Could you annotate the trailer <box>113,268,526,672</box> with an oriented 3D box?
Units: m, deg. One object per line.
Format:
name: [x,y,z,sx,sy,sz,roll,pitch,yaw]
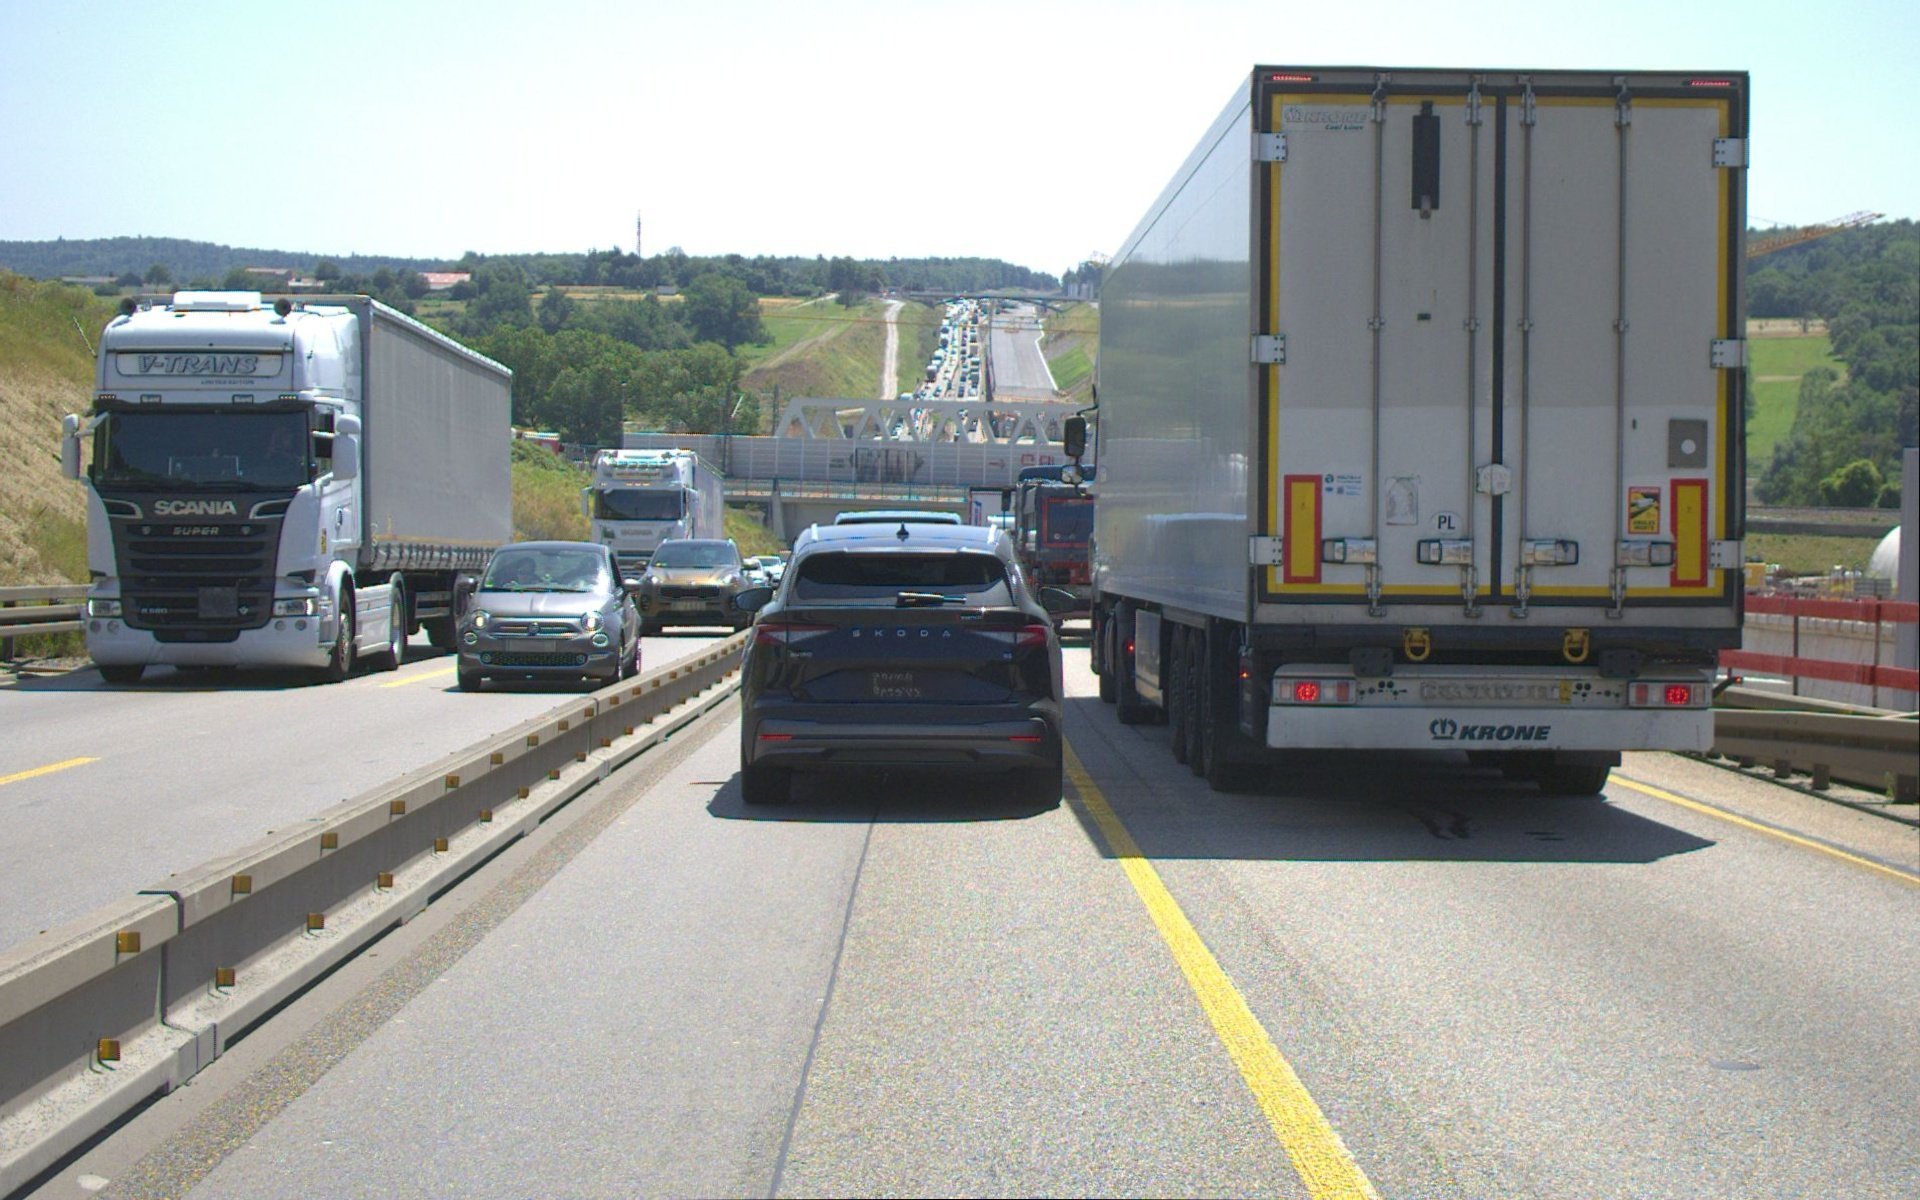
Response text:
trailer: [-7.747,-1.519,43.836,2.810,4.272,14.036,1,1,-1]

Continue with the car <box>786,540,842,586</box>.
car: [-5.293,-1.359,124.880,1.812,1.632,4.362,0,1,0]

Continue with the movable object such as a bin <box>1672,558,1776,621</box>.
movable object such as a bin: [36.744,-0.549,165.669,2.887,2.899,9.479,1,1,0]

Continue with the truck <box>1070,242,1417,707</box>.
truck: [2.561,-1.112,32.548,2.776,4.044,4.905,0,0,-1]

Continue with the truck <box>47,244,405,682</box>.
truck: [-7.617,-1.393,36.236,2.774,4.272,4.677,1,1,-1]

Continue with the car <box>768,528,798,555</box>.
car: [-9.572,-3.155,185.997,1.646,1.411,4.001,0,1,-3]

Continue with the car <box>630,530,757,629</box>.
car: [-4.429,-0.368,57.705,1.848,1.581,4.174,1,1,-1]

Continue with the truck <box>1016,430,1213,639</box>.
truck: [2.436,-1.047,58.309,2.814,3.124,12.838,0,1,0]

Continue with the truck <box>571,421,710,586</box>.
truck: [-8.271,-2.484,89.345,3.239,4.145,4.247,1,1,-1]

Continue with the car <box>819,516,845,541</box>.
car: [-9.301,-5.196,249.926,1.732,1.787,3.581,1,1,-1]

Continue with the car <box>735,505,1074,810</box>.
car: [-0.307,0.273,20.087,1.800,1.615,3.298,1,1,0]

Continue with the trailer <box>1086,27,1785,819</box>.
trailer: [2.703,-0.957,24.717,2.801,4.044,14.117,0,0,-1]

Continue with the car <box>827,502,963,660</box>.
car: [-0.737,-0.252,40.812,1.475,1.789,3.297,0,1,1]

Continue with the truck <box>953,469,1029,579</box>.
truck: [1.133,-2.855,129.384,2.517,3.946,7.600,2,1,-1]

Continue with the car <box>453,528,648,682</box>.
car: [-4.142,0.014,35.185,1.628,1.474,3.380,1,1,-1]

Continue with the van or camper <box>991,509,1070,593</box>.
van or camper: [1.963,-1.402,96.712,1.993,2.237,4.000,2,1,-1]
